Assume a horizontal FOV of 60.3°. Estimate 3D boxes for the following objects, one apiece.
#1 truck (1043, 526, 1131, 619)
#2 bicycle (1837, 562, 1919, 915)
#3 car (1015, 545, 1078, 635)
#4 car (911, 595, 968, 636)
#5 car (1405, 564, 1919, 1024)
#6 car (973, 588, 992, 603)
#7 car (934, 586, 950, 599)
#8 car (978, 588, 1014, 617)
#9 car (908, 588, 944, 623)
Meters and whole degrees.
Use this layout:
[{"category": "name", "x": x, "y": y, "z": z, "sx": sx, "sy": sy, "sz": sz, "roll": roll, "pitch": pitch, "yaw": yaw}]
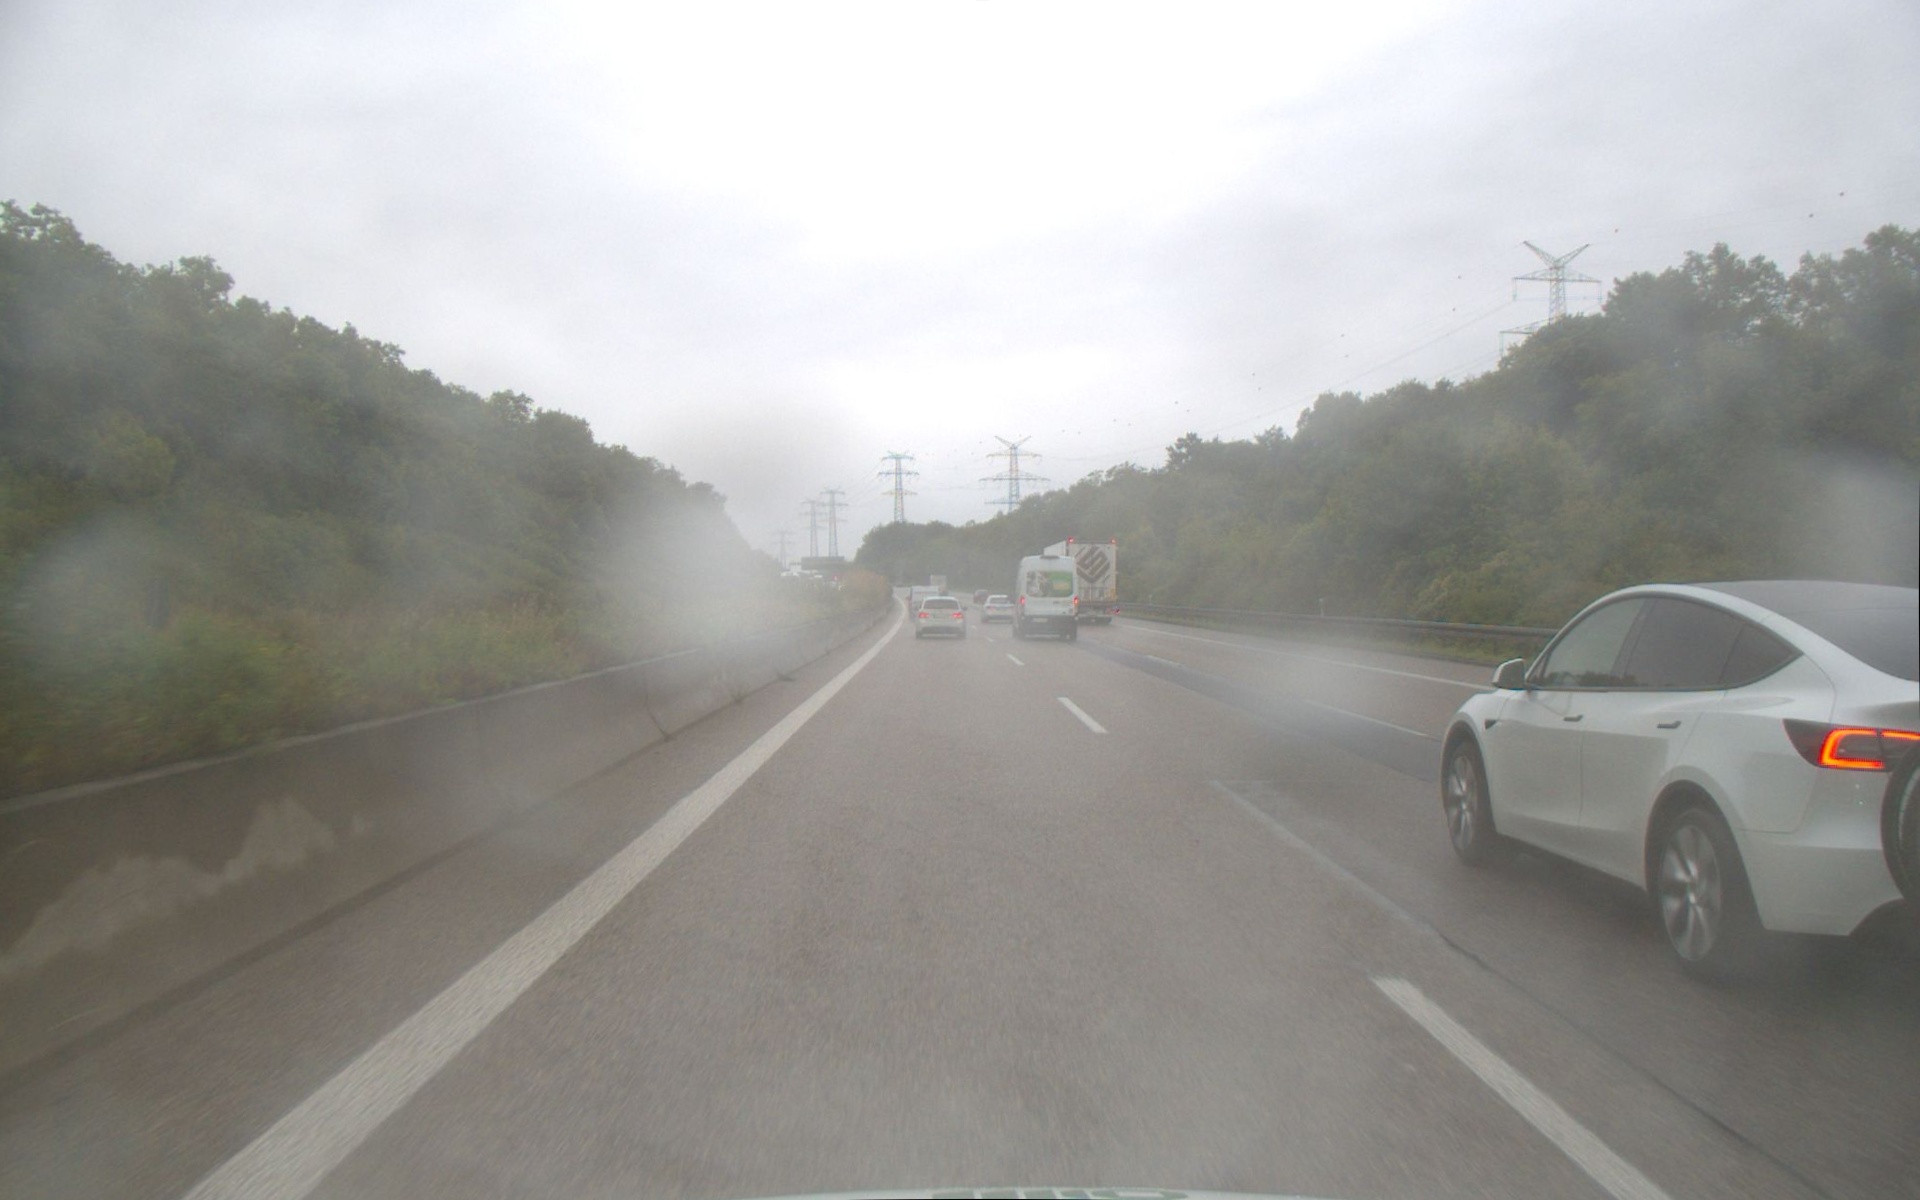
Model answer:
[{"category": "truck", "x": 6.432, "y": -1.325, "z": 86.231, "sx": 3.529, "sy": 4.408, "sz": 13.199, "roll": -1, "pitch": 0, "yaw": 0}, {"category": "bicycle", "x": 3.877, "y": 0.433, "z": 5.227, "sx": 1.718, "sy": 1.110, "sz": 0.913, "roll": 0, "pitch": -1, "yaw": -2}, {"category": "car", "x": 2.902, "y": -0.345, "z": 56.342, "sx": 1.952, "sy": 2.914, "sz": 4.001, "roll": -1, "pitch": 0, "yaw": 1}, {"category": "car", "x": -0.676, "y": 0.507, "z": 57.280, "sx": 1.828, "sy": 1.310, "sz": 4.000, "roll": -2, "pitch": 0, "yaw": 0}, {"category": "car", "x": 3.812, "y": 0.666, "z": 8.237, "sx": 1.822, "sy": 1.595, "sz": 4.963, "roll": 0, "pitch": 0, "yaw": 0}, {"category": "car", "x": 2.512, "y": -0.519, "z": 184.659, "sx": 1.953, "sy": 1.512, "sz": 4.000, "roll": -3, "pitch": 0, "yaw": 0}, {"category": "car", "x": -2.350, "y": -0.928, "z": 218.090, "sx": 1.953, "sy": 1.601, "sz": 4.000, "roll": -2, "pitch": -1, "yaw": 0}, {"category": "car", "x": 1.869, "y": 0.128, "z": 85.538, "sx": 1.818, "sy": 1.447, "sz": 4.001, "roll": 0, "pitch": 0, "yaw": 1}, {"category": "car", "x": -1.821, "y": 0.300, "z": 89.360, "sx": 1.808, "sy": 1.803, "sz": 4.000, "roll": -1, "pitch": 0, "yaw": 0}]
